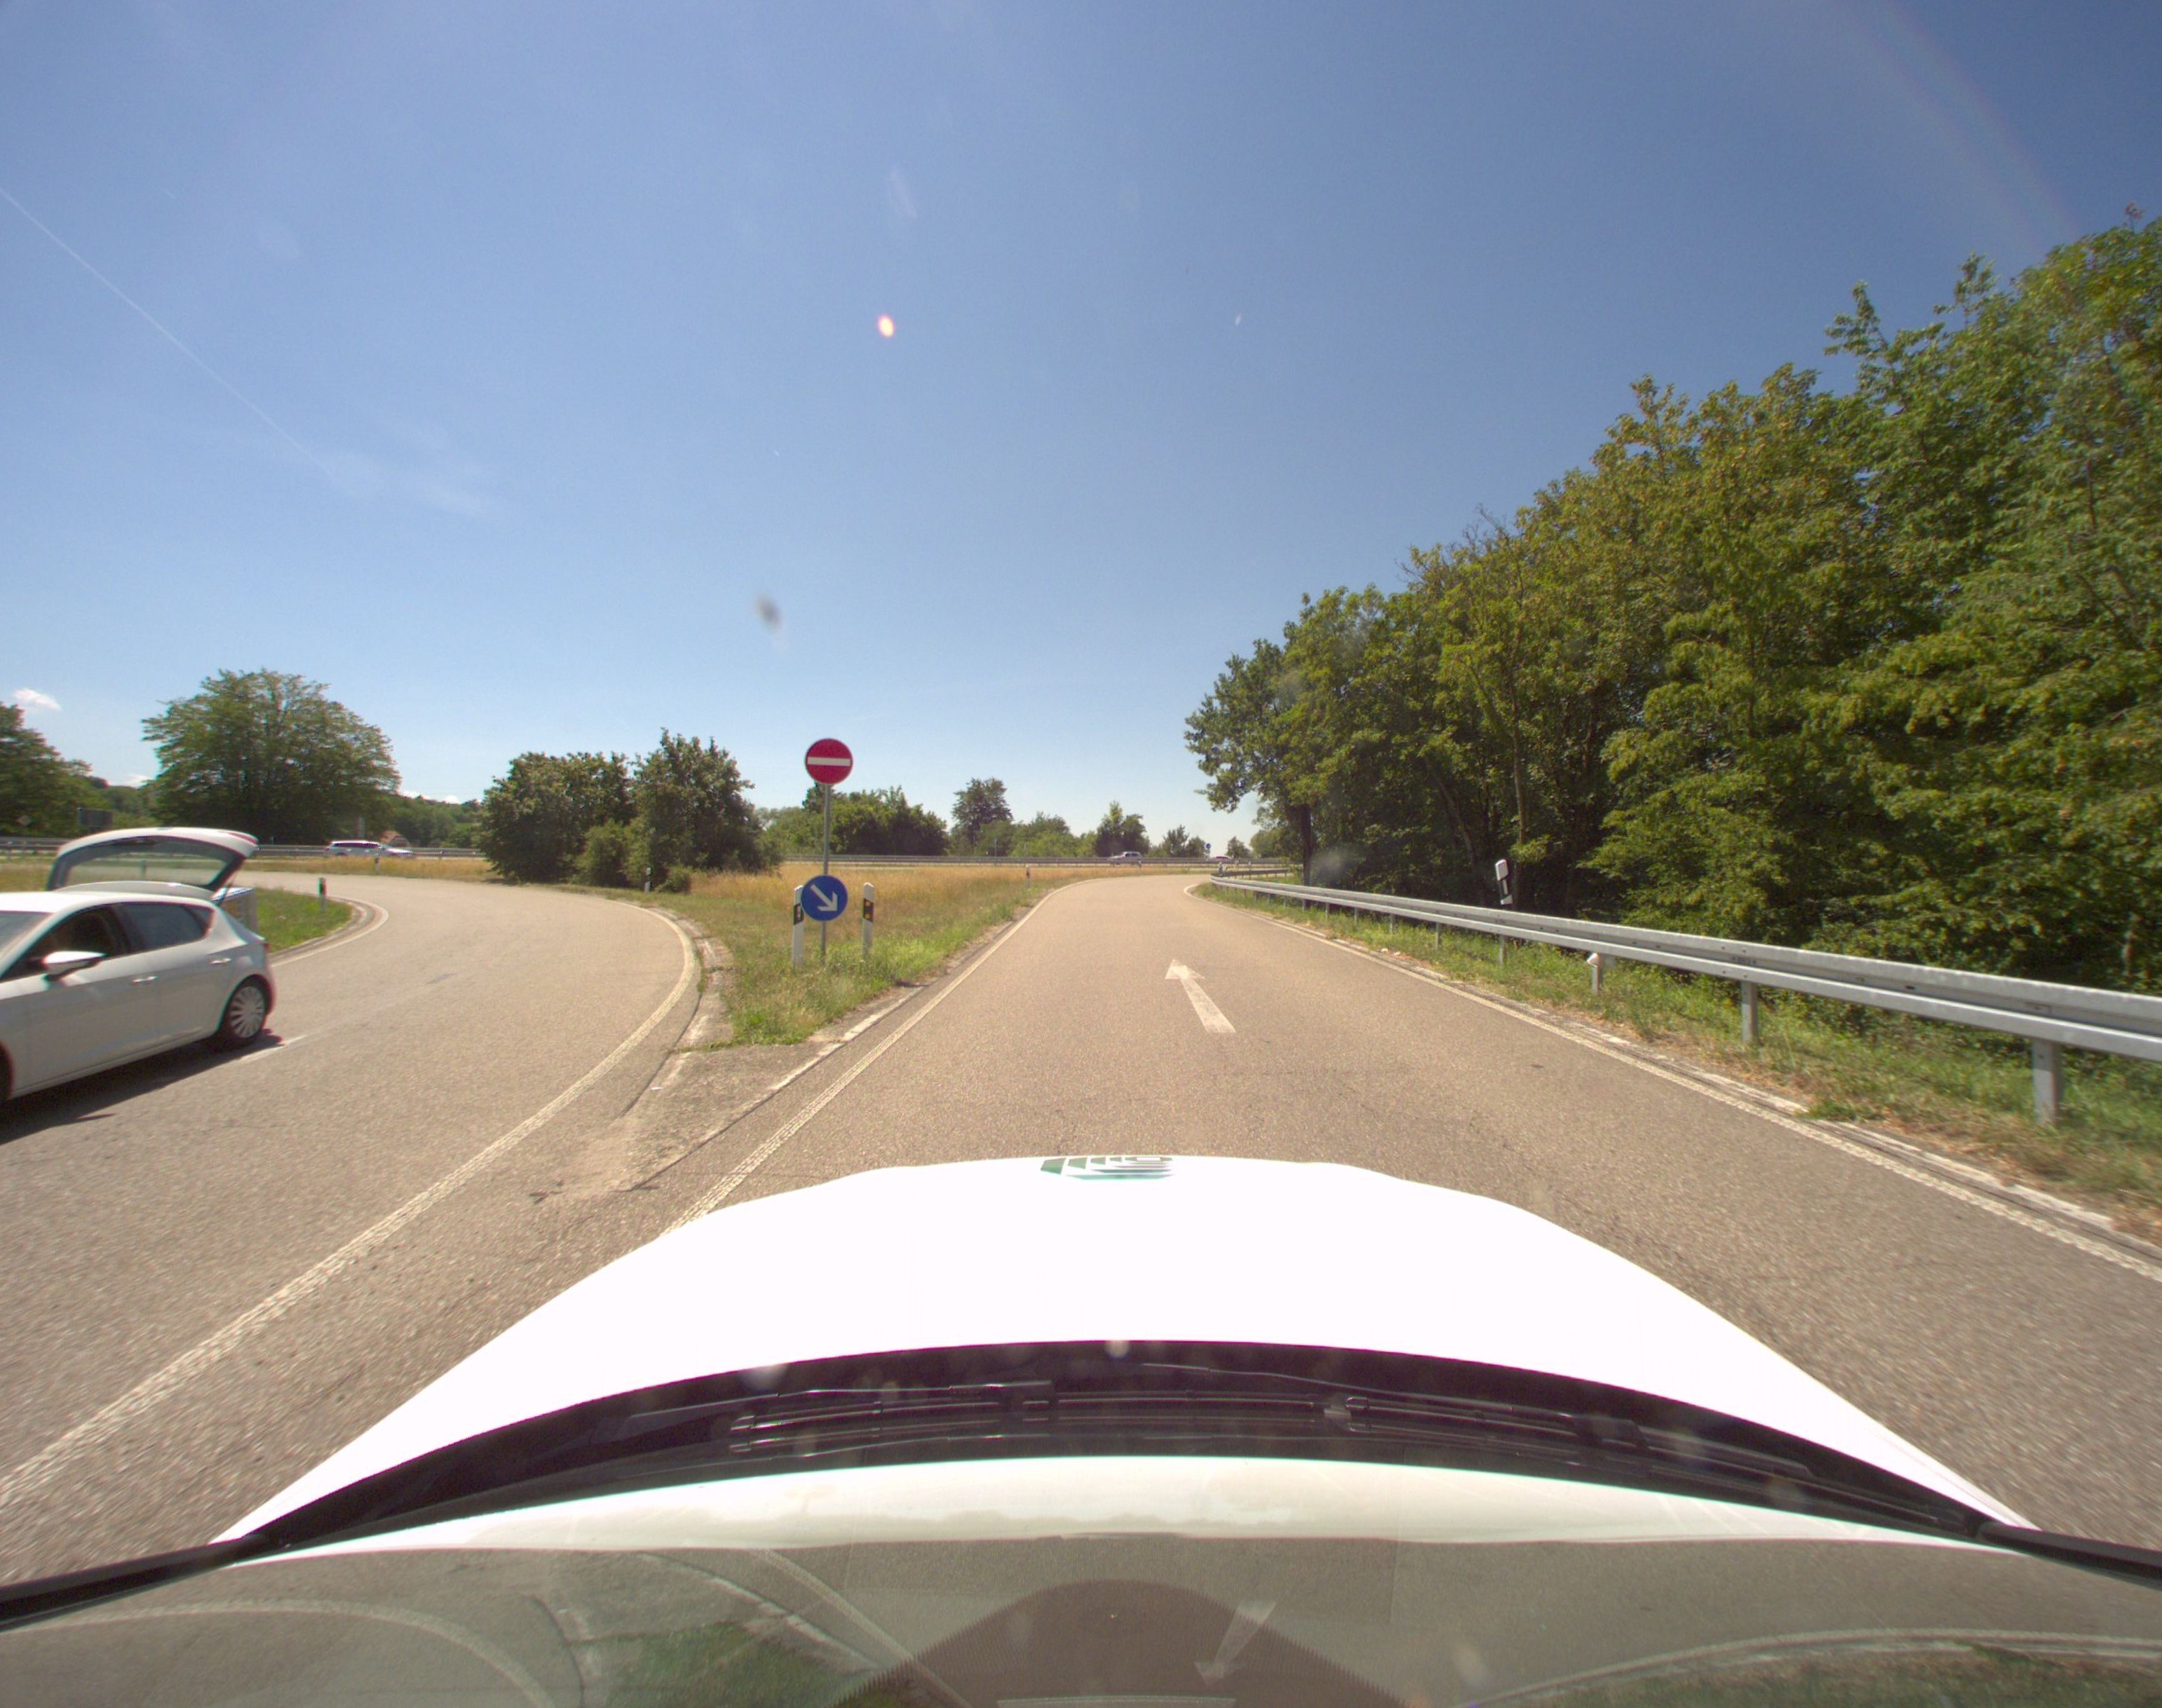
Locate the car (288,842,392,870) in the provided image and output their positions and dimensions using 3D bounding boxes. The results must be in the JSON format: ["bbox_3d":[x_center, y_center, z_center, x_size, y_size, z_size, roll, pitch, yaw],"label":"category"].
[{"bbox_3d":[-49.927,0.149,55.026,4.796,1.790,1.983,1,0,-27],"label":"car"}]

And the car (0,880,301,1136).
[{"bbox_3d":[-7.625,0.985,5.496,1.852,1.424,4.120,-2,0,-20],"label":"car"}]
